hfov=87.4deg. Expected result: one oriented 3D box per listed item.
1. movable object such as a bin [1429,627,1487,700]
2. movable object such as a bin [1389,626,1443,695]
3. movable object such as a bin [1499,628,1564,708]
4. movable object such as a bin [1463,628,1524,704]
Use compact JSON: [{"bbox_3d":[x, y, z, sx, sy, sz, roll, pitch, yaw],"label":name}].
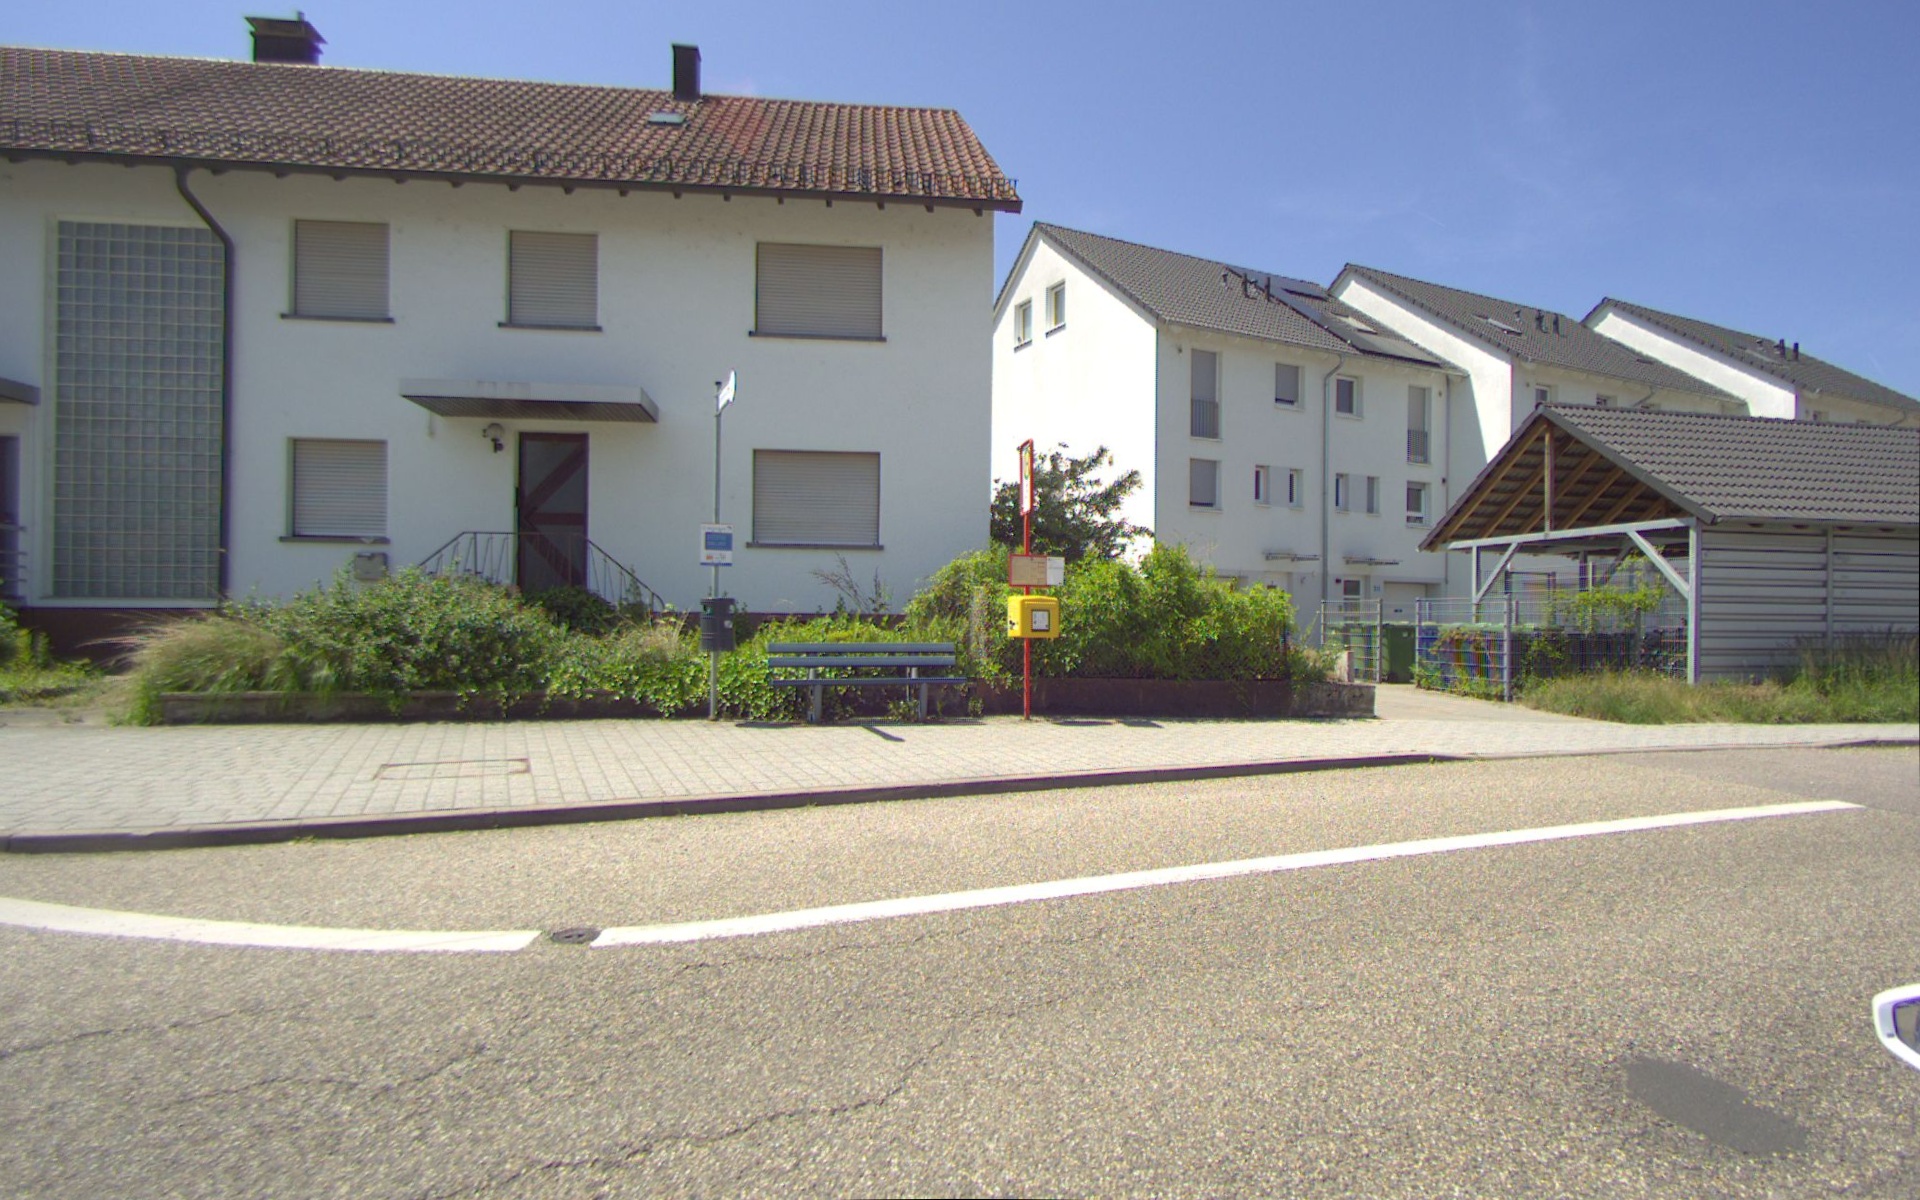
[{"bbox_3d":[9.132,1.158,18.421,0.682,1.295,0.640,1,0,-14],"label":"movable object such as a bin"},{"bbox_3d":[8.816,1.171,19.449,0.682,1.295,0.640,1,0,-14],"label":"movable object such as a bin"},{"bbox_3d":[9.568,1.134,16.830,0.682,1.295,0.640,1,0,-14],"label":"movable object such as a bin"},{"bbox_3d":[9.368,1.147,17.649,0.682,1.295,0.640,1,0,-14],"label":"movable object such as a bin"}]
